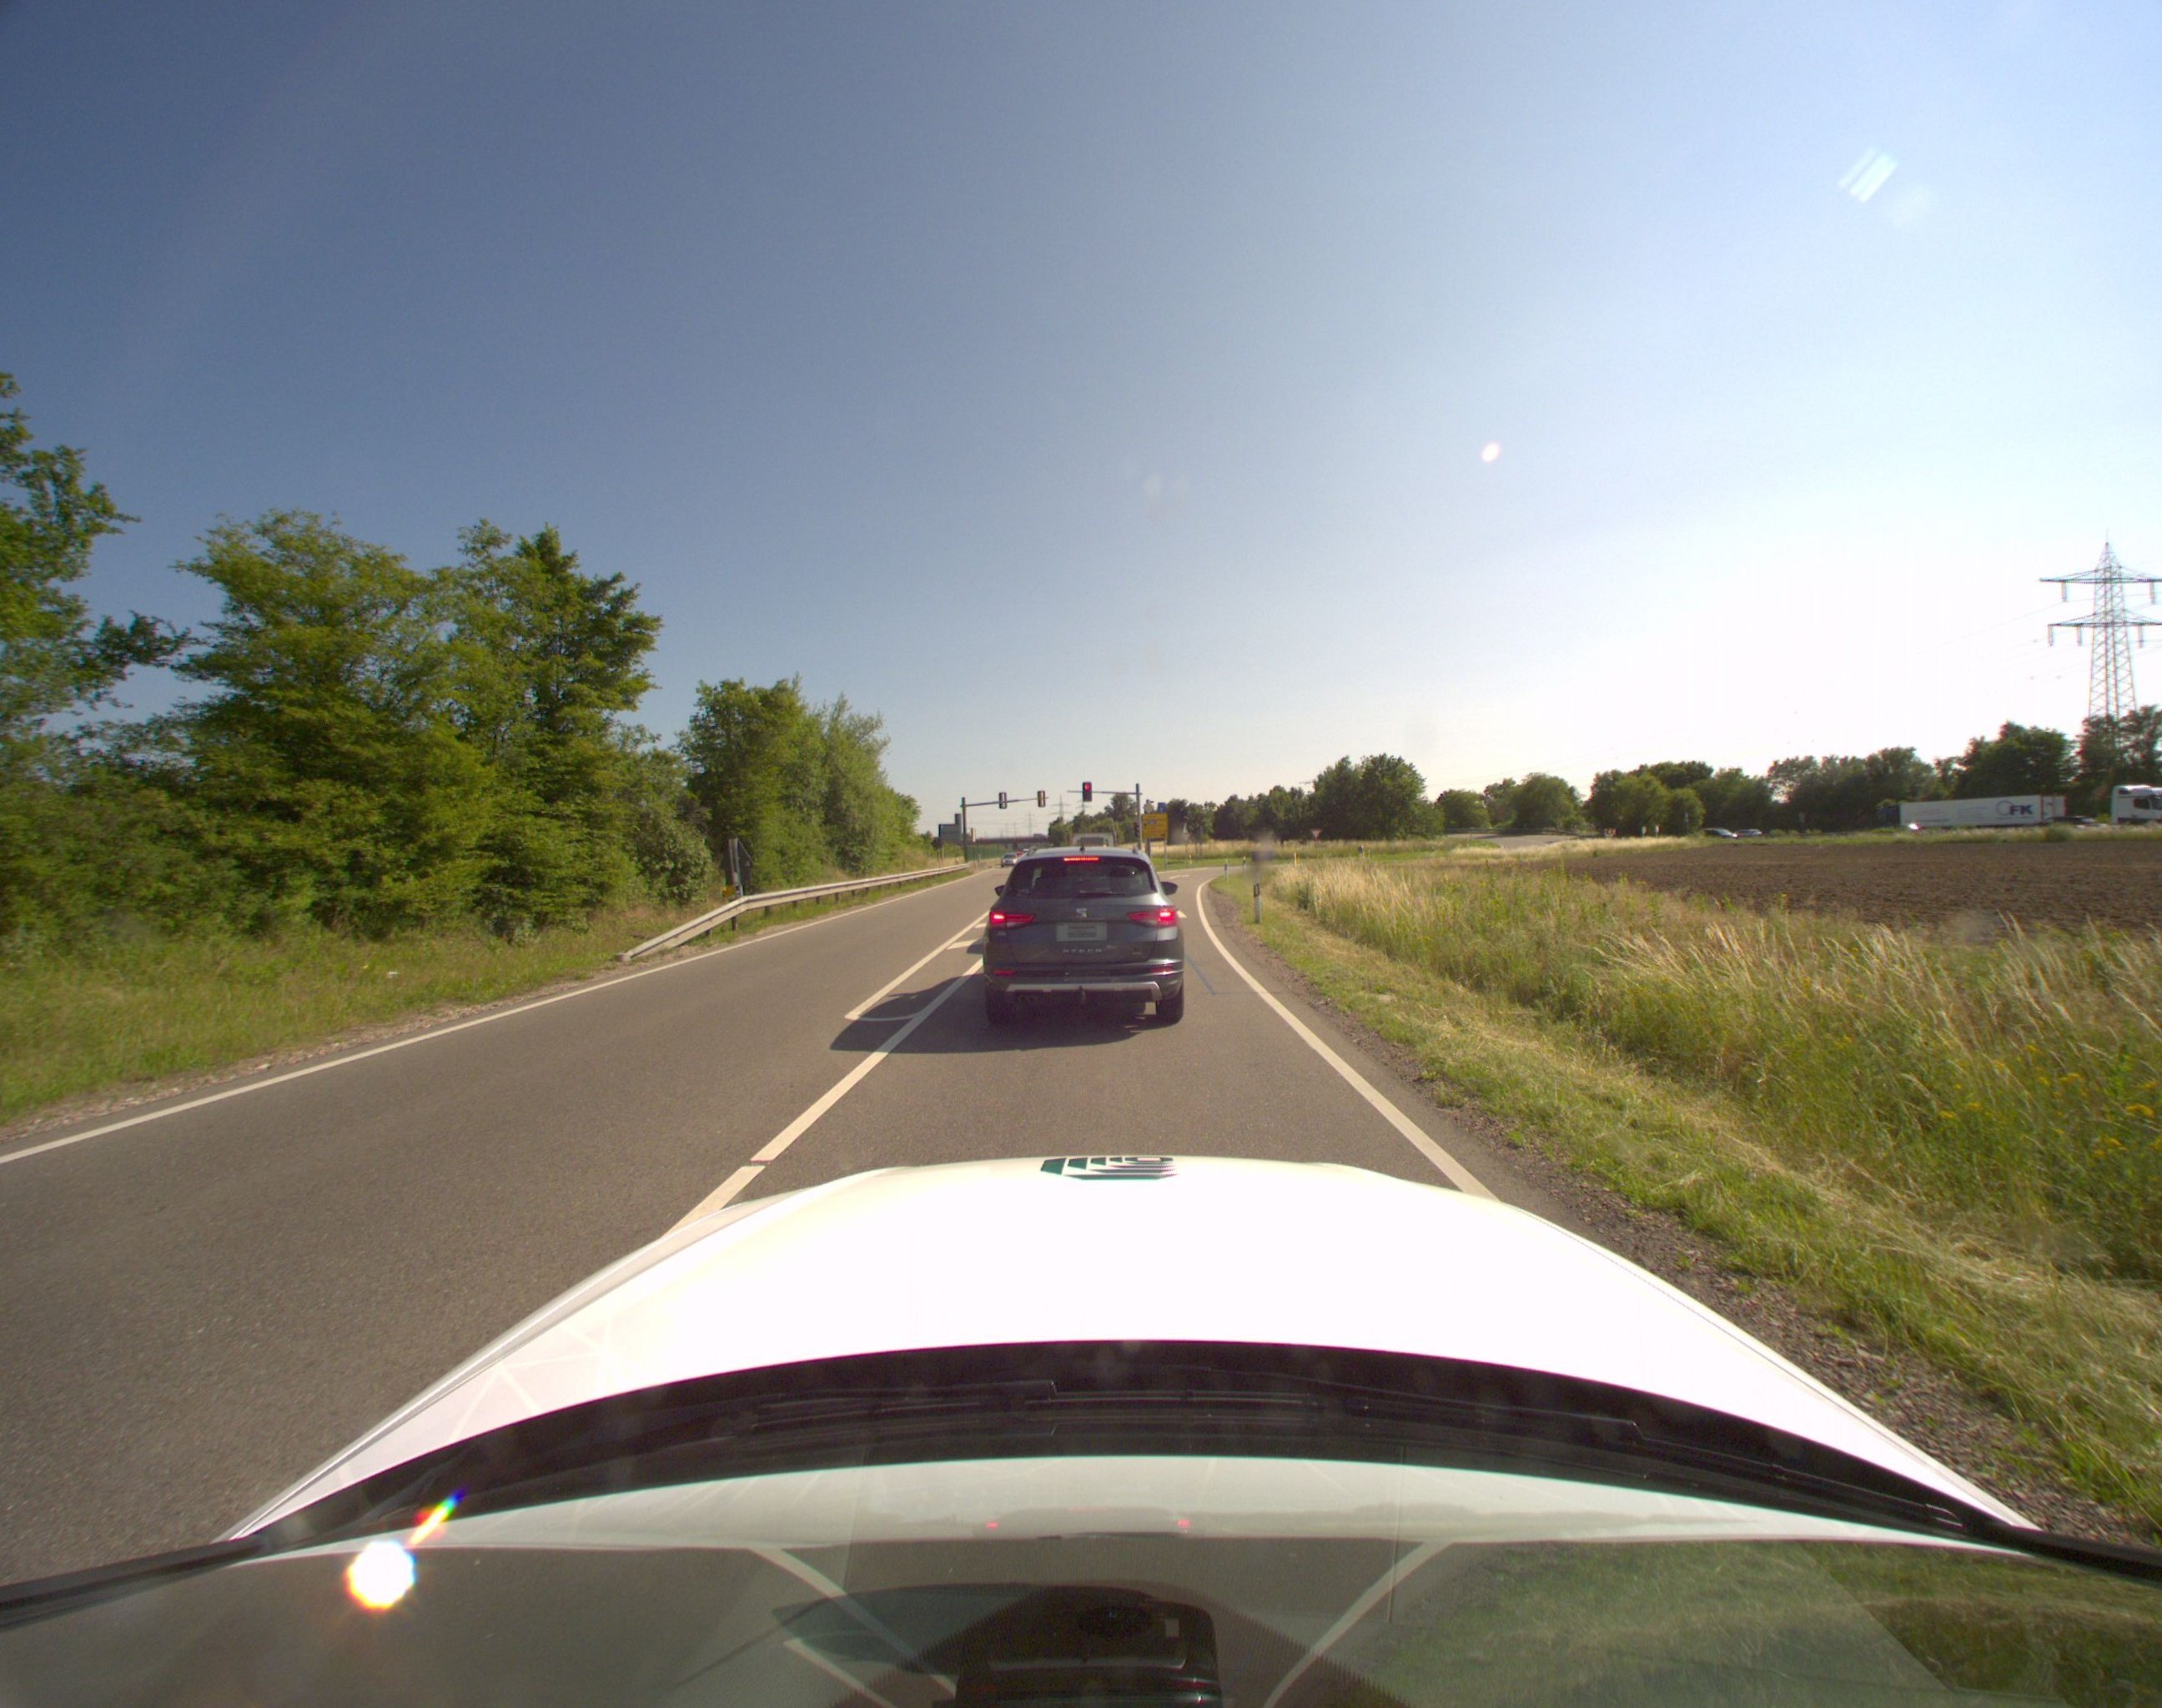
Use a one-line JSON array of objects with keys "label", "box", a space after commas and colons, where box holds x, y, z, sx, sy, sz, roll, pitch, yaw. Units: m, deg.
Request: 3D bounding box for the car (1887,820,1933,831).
[{"label": "car", "box": [92.133, -3.198, 90.566, 1.391, 1.151, 3.578, -1, 1, -3]}]

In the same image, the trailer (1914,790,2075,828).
[{"label": "trailer", "box": [98.992, -4.771, 88.822, 3.275, 3.267, 12.448, -3, 0, -1]}]

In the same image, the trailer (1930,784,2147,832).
[{"label": "trailer", "box": [80.082, -3.718, 68.843, 2.507, 3.267, 13.024, -3, 0, -2]}]

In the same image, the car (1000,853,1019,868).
[{"label": "car", "box": [-7.385, 0.610, 84.046, 1.821, 1.431, 3.994, -2, 0, -4]}]

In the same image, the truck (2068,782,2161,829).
[{"label": "truck", "box": [80.362, -3.686, 62.533, 2.507, 3.267, 5.352, -3, 0, -3]}]

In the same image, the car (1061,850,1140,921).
[{"label": "car", "box": [0.436, 0.717, 20.762, 1.780, 1.543, 3.999, -2, 0, -1]}]

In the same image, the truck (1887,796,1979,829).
[{"label": "truck", "box": [98.852, -4.768, 94.681, 3.275, 3.267, 6.975, -3, 0, -2]}]

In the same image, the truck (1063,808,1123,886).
[{"label": "truck", "box": [0.514, -0.260, 35.450, 2.329, 3.066, 5.809, -1, 0, 1]}]

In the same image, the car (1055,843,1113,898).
[{"label": "car", "box": [0.086, 0.503, 27.779, 1.780, 1.675, 3.999, -2, 0, -1]}]

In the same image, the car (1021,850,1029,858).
[{"label": "car", "box": [-14.329, -0.080, 207.731, 1.961, 1.952, 4.987, -2, 0, -6]}]

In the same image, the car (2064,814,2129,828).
[{"label": "car", "box": [91.671, -2.999, 73.574, 1.391, 1.151, 3.578, -1, 1, -3]}]

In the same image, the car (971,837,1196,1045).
[{"label": "car", "box": [0.005, 0.687, 8.602, 1.780, 1.629, 3.999, -2, 0, -1]}]

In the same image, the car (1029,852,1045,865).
[{"label": "car", "box": [-4.964, 0.532, 92.050, 1.681, 1.380, 3.528, -1, 0, -4]}]

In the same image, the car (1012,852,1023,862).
[{"label": "car", "box": [-10.207, 0.476, 131.465, 1.758, 1.431, 3.994, -2, 0, -4]}]

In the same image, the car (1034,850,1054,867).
[{"label": "car", "box": [-3.638, 0.423, 79.684, 1.813, 1.540, 3.994, -2, 0, -4]}]
